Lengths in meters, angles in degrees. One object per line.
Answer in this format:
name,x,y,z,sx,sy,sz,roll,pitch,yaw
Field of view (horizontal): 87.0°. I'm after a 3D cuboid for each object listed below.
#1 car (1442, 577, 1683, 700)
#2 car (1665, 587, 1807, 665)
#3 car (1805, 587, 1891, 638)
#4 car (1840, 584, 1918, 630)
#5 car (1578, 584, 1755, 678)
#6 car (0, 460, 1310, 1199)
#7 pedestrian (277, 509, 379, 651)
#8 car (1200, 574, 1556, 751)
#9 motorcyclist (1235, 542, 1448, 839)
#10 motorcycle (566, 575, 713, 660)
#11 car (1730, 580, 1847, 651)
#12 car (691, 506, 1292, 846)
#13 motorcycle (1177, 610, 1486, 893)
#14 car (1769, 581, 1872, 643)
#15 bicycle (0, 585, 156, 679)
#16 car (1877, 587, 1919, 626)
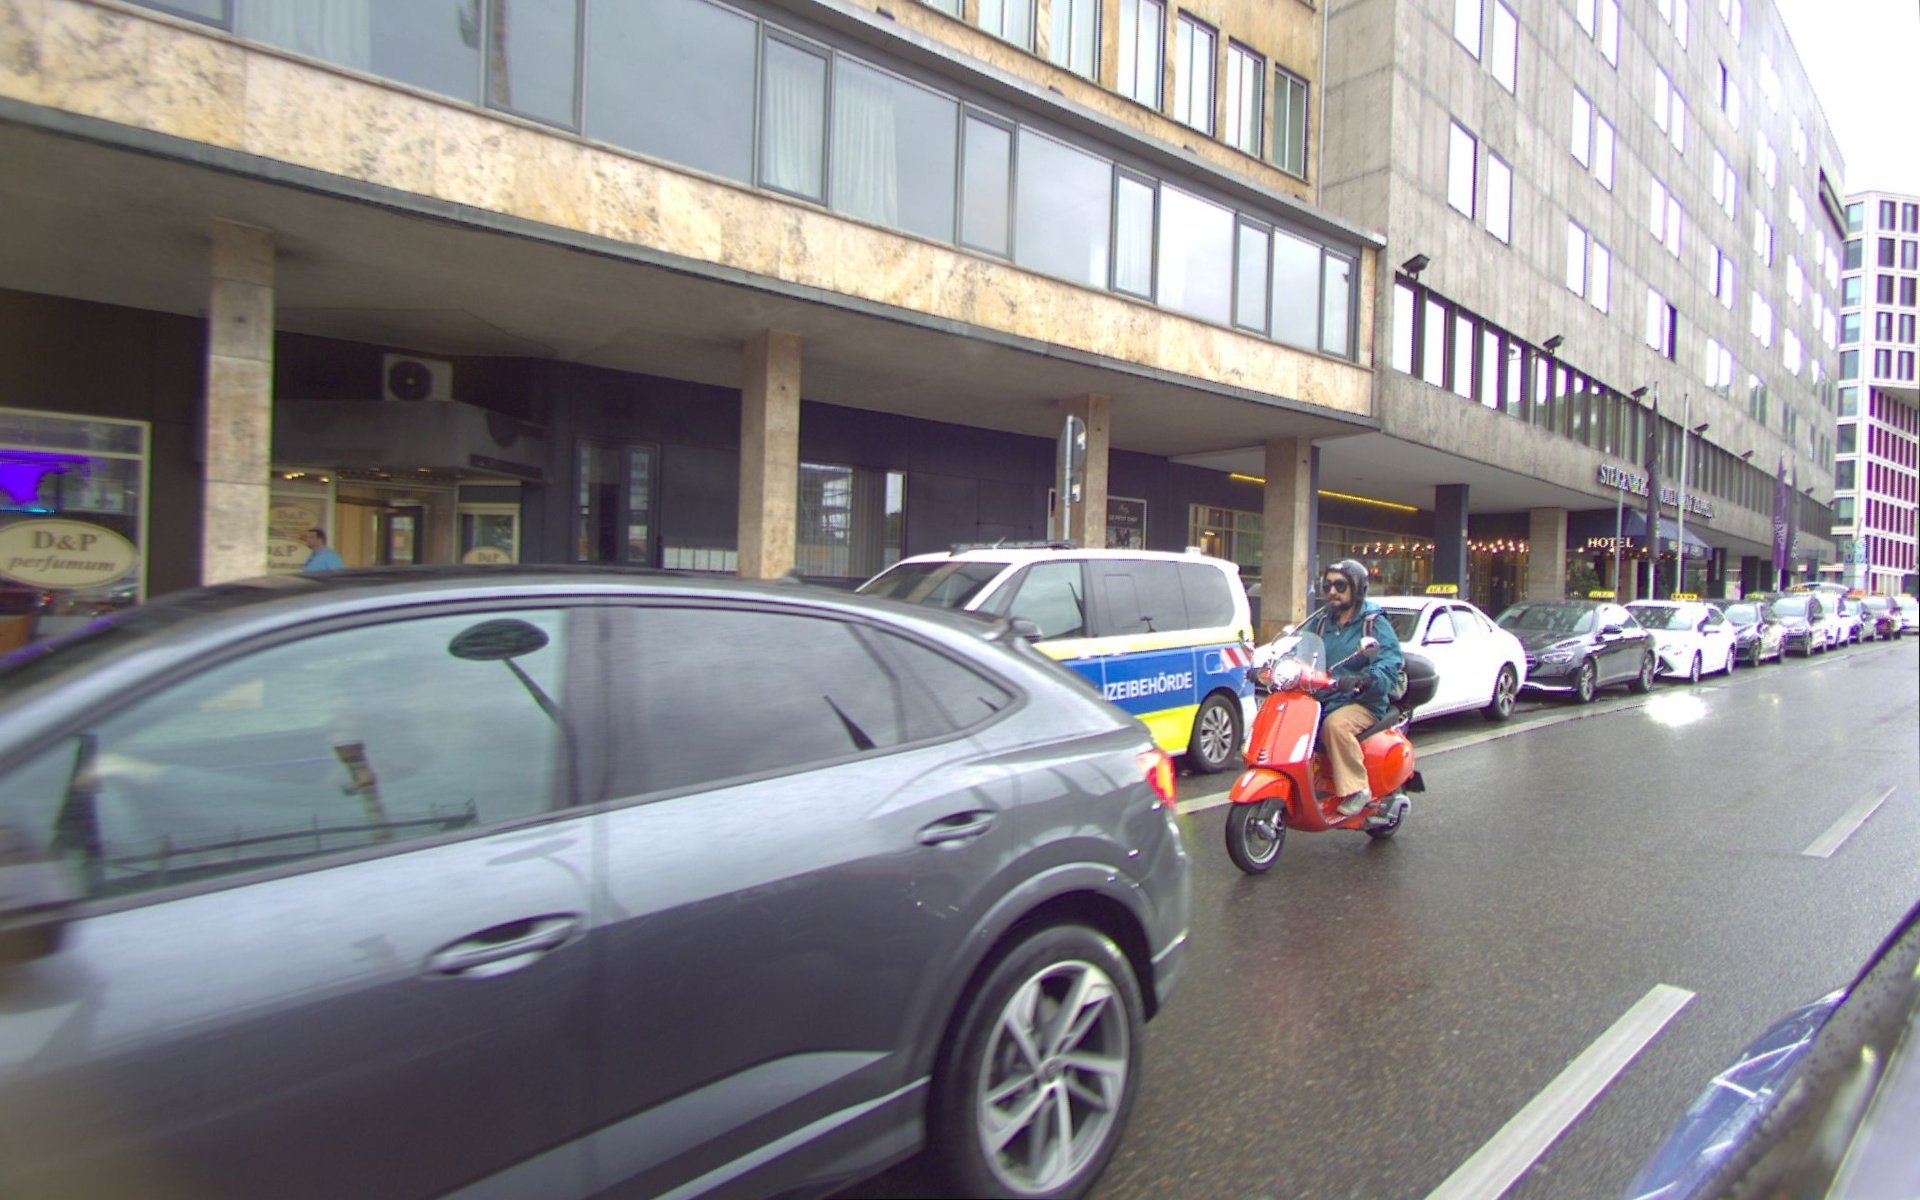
car,9.525,0.485,15.832,4.731,1.658,1.877,-1,0,-41
car,17.993,0.515,23.377,4.731,1.612,1.729,-1,0,-41
car,30.298,0.391,34.502,3.932,1.634,1.729,-1,0,-41
car,34.258,0.228,37.703,3.932,1.634,1.729,-1,0,-41
car,13.739,0.506,19.562,4.731,1.612,1.729,-1,0,-41
car,-1.193,0.589,2.318,4.266,1.520,1.882,-1,0,-41
pedestrian,-8.451,-0.262,13.588,0.784,1.812,1.138,0,0,-10
car,5.058,0.557,11.857,4.924,1.658,1.877,-1,0,-41
motorcyclist,2.207,0.463,5.872,0.829,1.547,0.860,0,0,-41
motorcycle,-4.887,0.234,15.488,2.063,1.233,0.569,-1,0,-33
car,22.510,0.365,27.427,4.731,1.764,1.729,-1,0,-41
car,0.519,0.402,8.094,4.850,1.944,1.877,-1,0,-41
motorcycle,2.198,0.743,5.860,1.931,1.323,0.848,-1,0,-41
car,26.292,0.303,30.862,4.731,1.764,1.729,-1,0,-41
bicycle,-11.043,0.365,11.936,2.429,1.059,0.657,-1,0,-41
car,41.792,0.240,44.494,3.932,1.634,1.729,-1,0,-41
